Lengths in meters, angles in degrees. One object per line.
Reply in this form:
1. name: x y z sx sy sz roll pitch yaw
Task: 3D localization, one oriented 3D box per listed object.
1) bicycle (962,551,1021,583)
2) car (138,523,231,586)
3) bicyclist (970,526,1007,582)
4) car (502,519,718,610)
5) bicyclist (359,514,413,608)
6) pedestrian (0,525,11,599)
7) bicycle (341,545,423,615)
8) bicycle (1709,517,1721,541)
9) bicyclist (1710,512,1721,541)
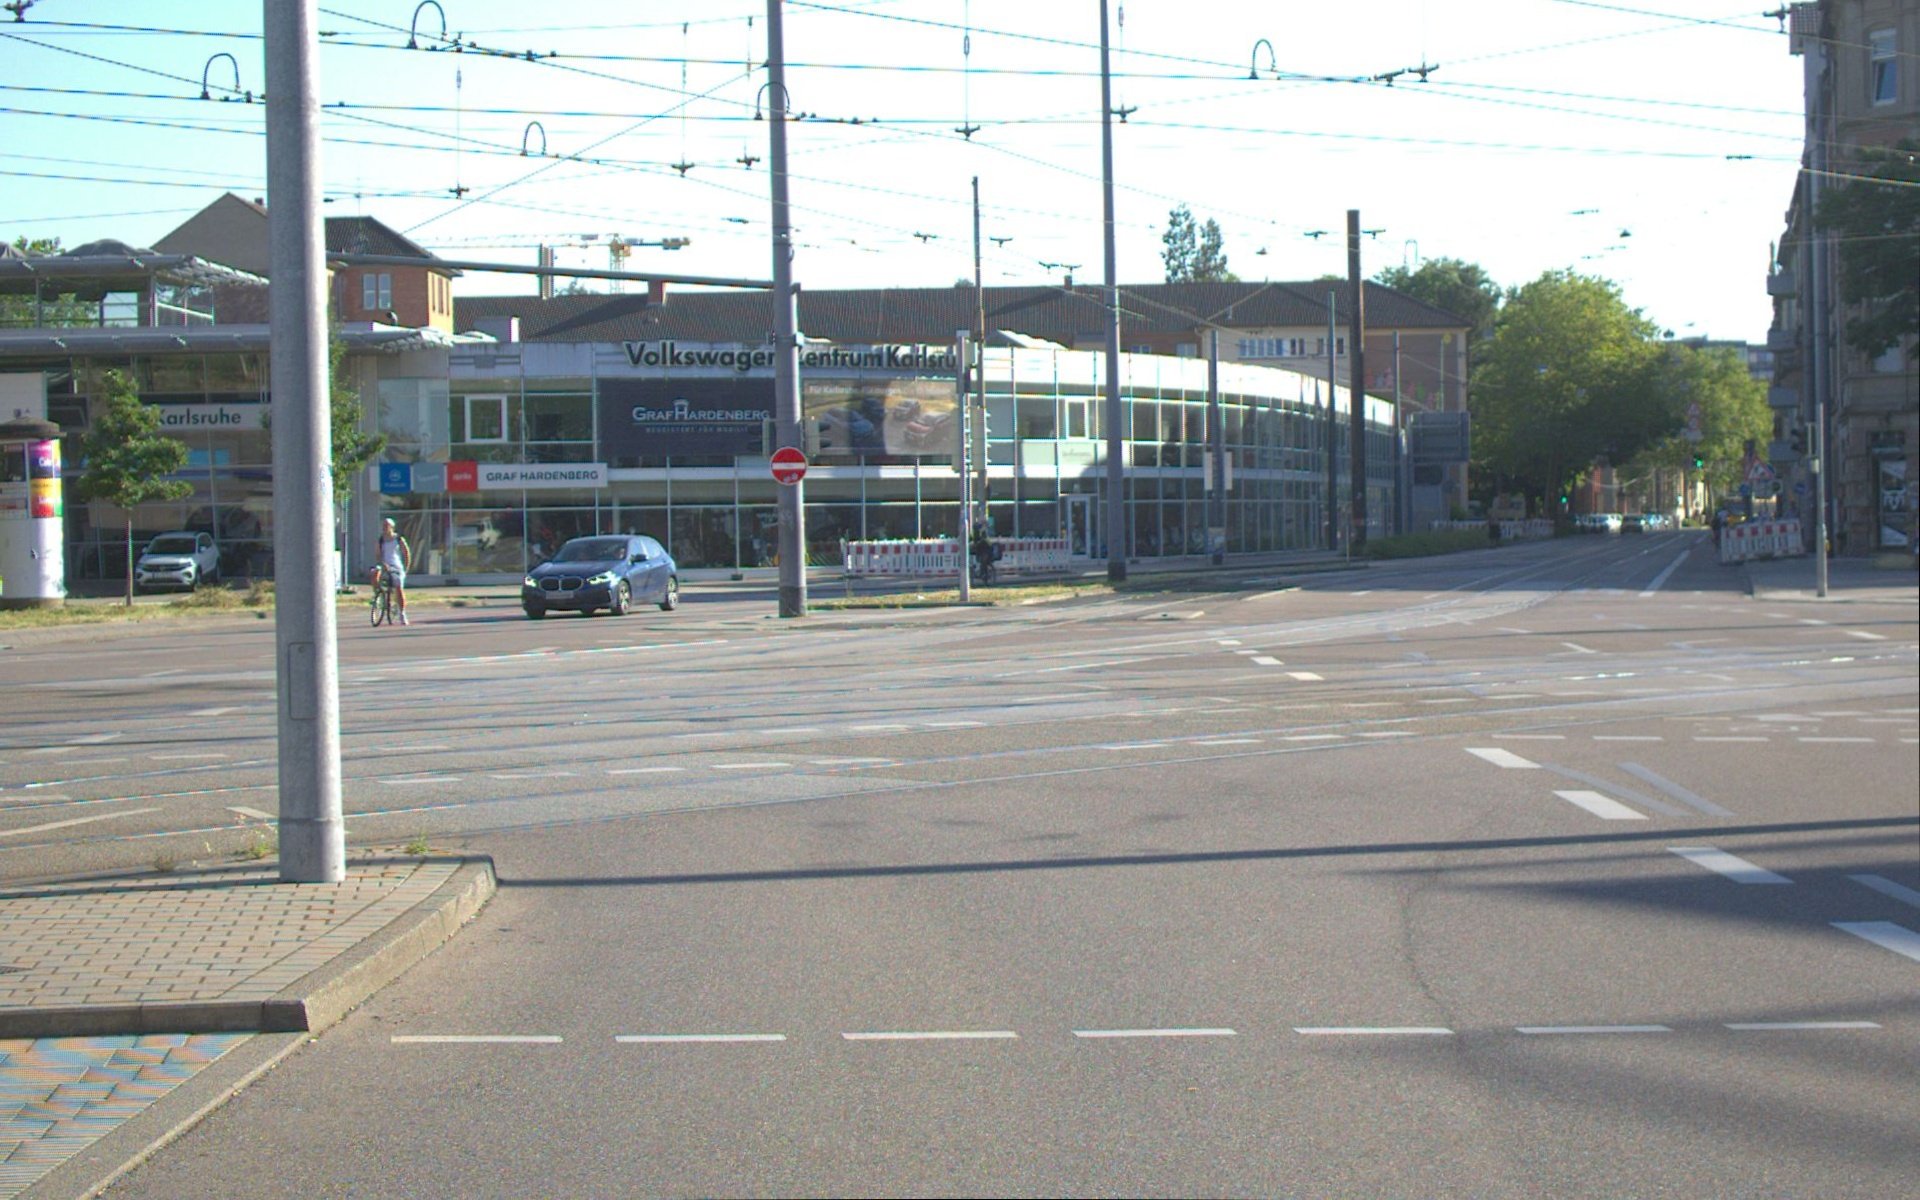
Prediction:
1. bicycle: 0.887 -0.928 96.546 0.639 0.867 2.231 1 1 29
2. car: -22.402 -1.304 99.402 1.993 1.744 4.001 1 1 -4
3. bicyclist: 0.813 -1.295 96.415 0.655 1.567 0.921 1 0 29
4. car: -6.247 -0.631 61.780 1.996 1.579 3.994 1 1 27
5. bicyclist: -9.998 -0.677 59.918 0.598 1.610 0.822 1 0 17
6. pedestrian: -22.413 -0.879 79.394 0.856 1.688 0.497 1 0 -2
7. bicycle: -10.043 -0.349 59.785 0.613 1.185 1.867 1 1 17
8. bicycle: 29.546 -2.774 134.564 0.410 0.938 1.844 1 1 12
9. bicyclist: 29.534 -2.870 134.447 0.408 1.112 0.399 1 0 11
